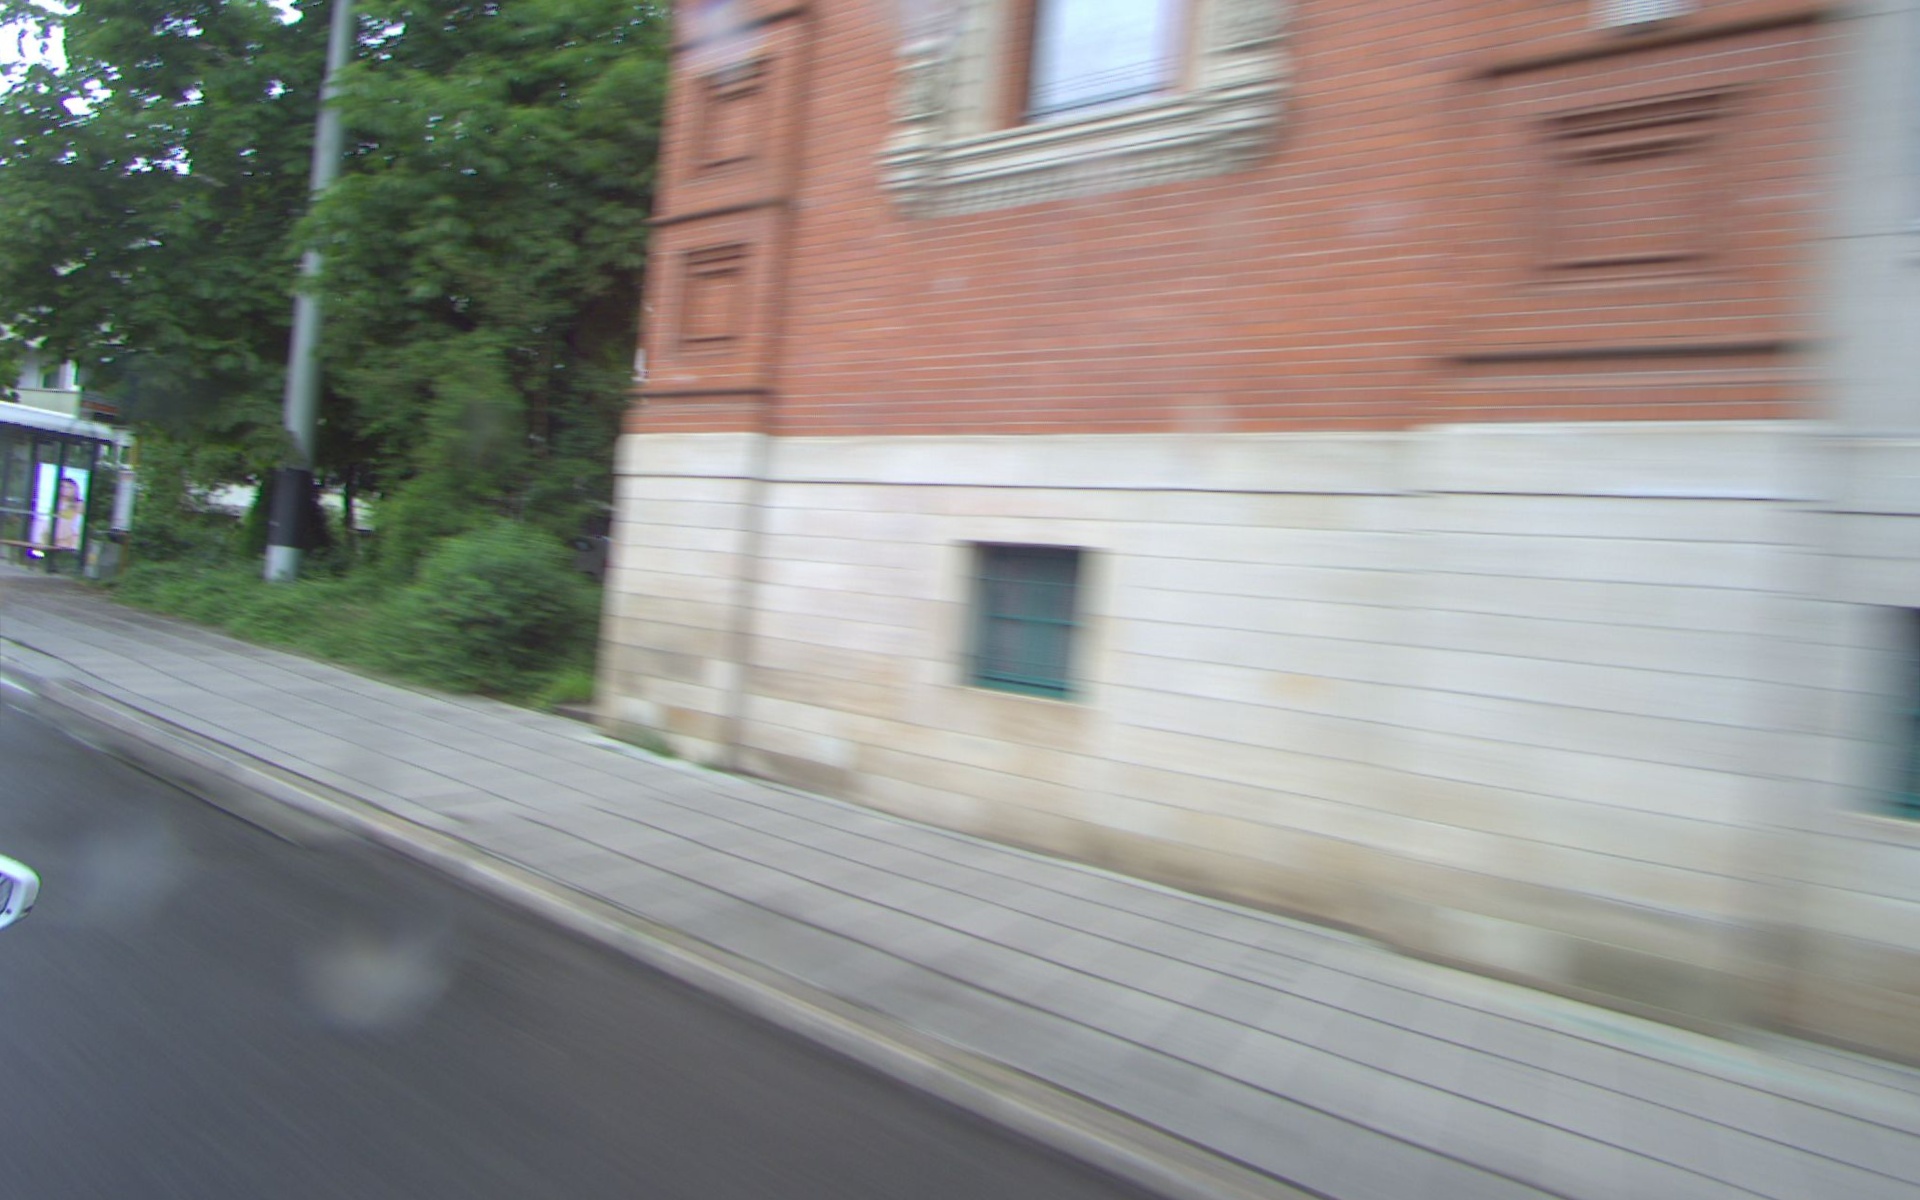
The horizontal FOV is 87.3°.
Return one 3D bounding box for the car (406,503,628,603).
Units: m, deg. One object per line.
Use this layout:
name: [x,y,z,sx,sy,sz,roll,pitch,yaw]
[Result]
car: [-9.881,-0.999,22.842,4.321,1.576,1.835,7,-1,-19]
